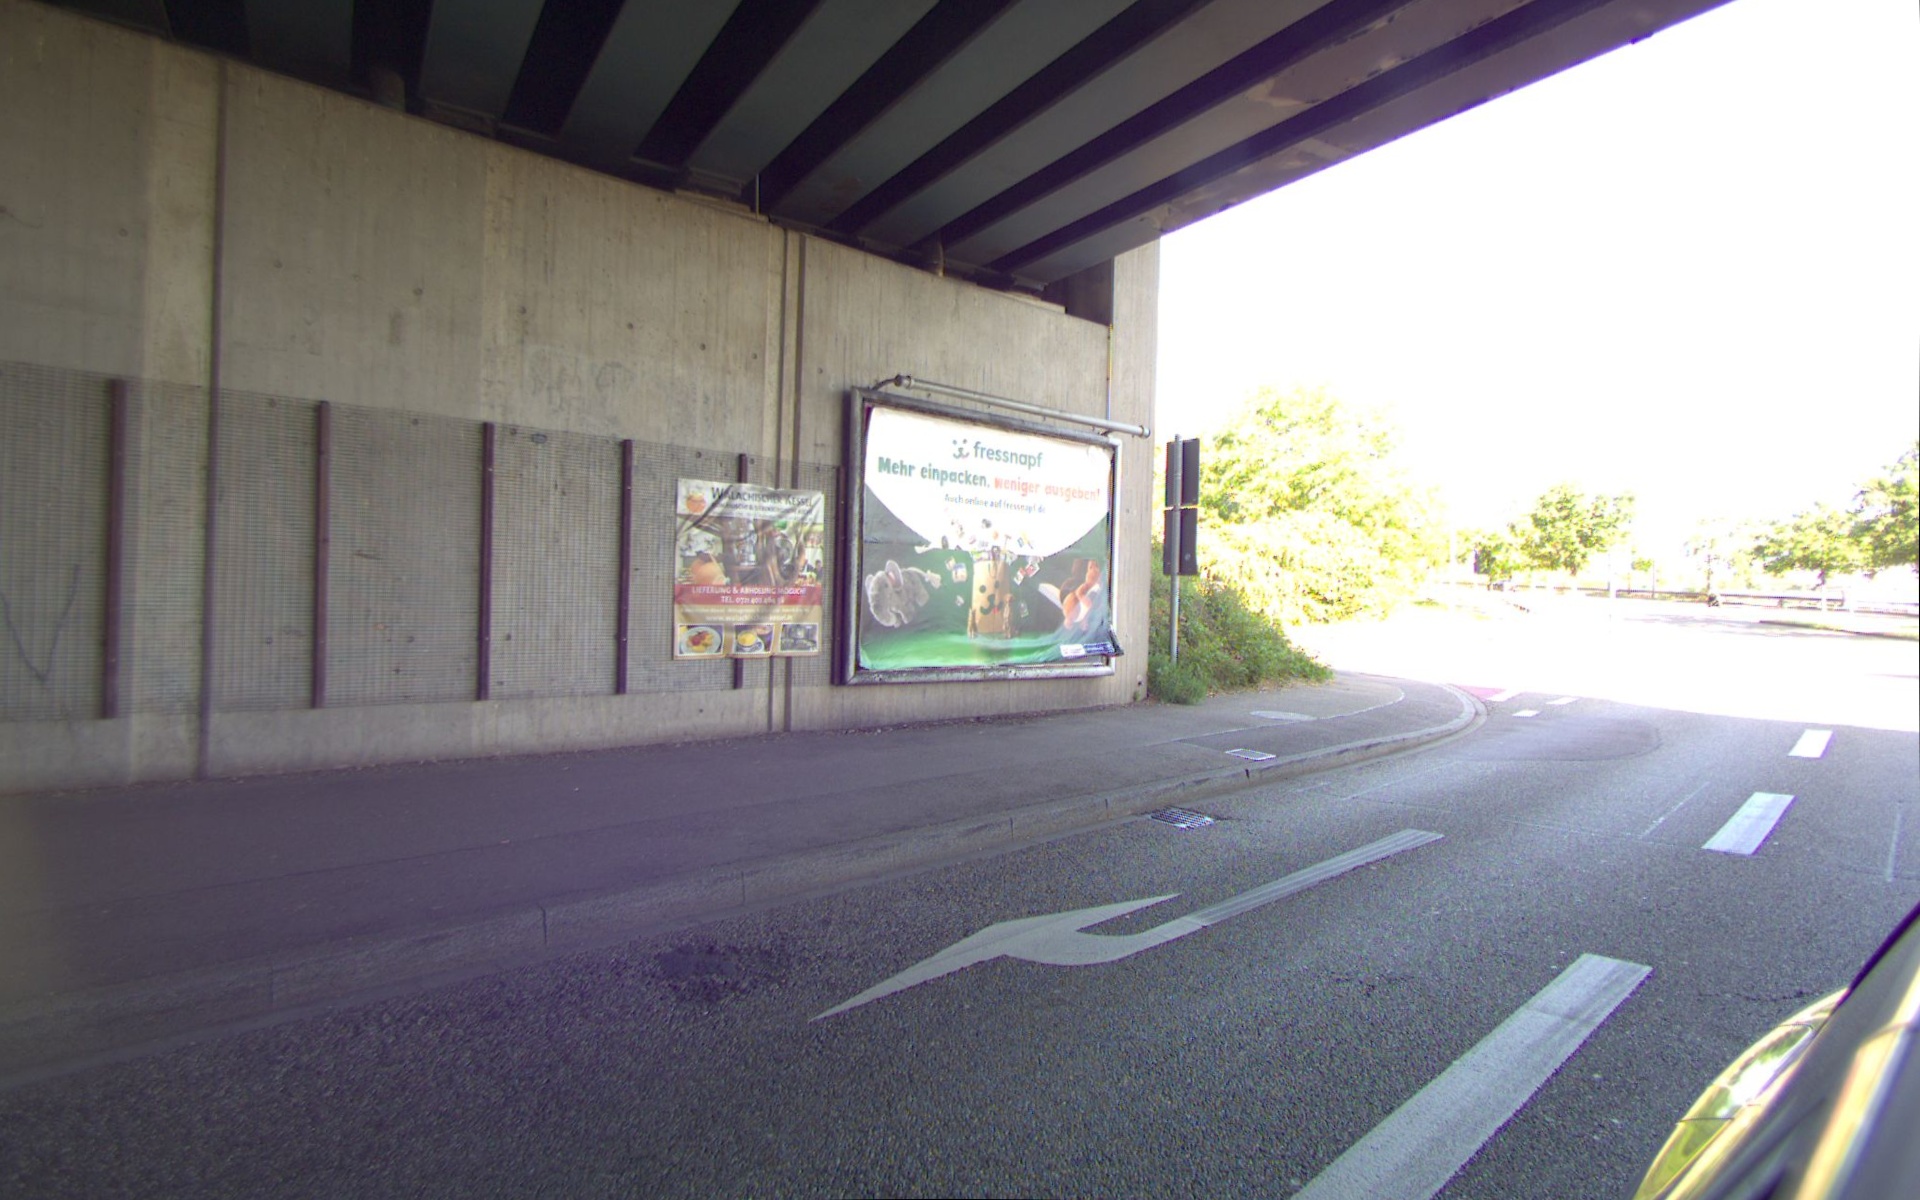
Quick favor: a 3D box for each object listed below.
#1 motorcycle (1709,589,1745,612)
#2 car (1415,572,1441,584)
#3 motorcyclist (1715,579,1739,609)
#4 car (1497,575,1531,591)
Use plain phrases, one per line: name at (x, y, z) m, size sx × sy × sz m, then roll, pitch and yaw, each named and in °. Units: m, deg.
motorcycle at (59.184, 0.029, 78.121) m, size 1.093 × 1.681 × 3.140 m, roll 0°, pitch 0°, yaw 15°
car at (63.045, -2.961, 136.410) m, size 1.708 × 1.438 × 4.312 m, roll 2°, pitch 0°, yaw 5°
motorcyclist at (59.173, -0.455, 78.115) m, size 1.093 × 2.269 × 1.177 m, roll 0°, pitch 0°, yaw 16°
car at (66.188, -2.004, 120.979) m, size 1.799 × 1.759 × 4.522 m, roll 3°, pitch 2°, yaw 7°
